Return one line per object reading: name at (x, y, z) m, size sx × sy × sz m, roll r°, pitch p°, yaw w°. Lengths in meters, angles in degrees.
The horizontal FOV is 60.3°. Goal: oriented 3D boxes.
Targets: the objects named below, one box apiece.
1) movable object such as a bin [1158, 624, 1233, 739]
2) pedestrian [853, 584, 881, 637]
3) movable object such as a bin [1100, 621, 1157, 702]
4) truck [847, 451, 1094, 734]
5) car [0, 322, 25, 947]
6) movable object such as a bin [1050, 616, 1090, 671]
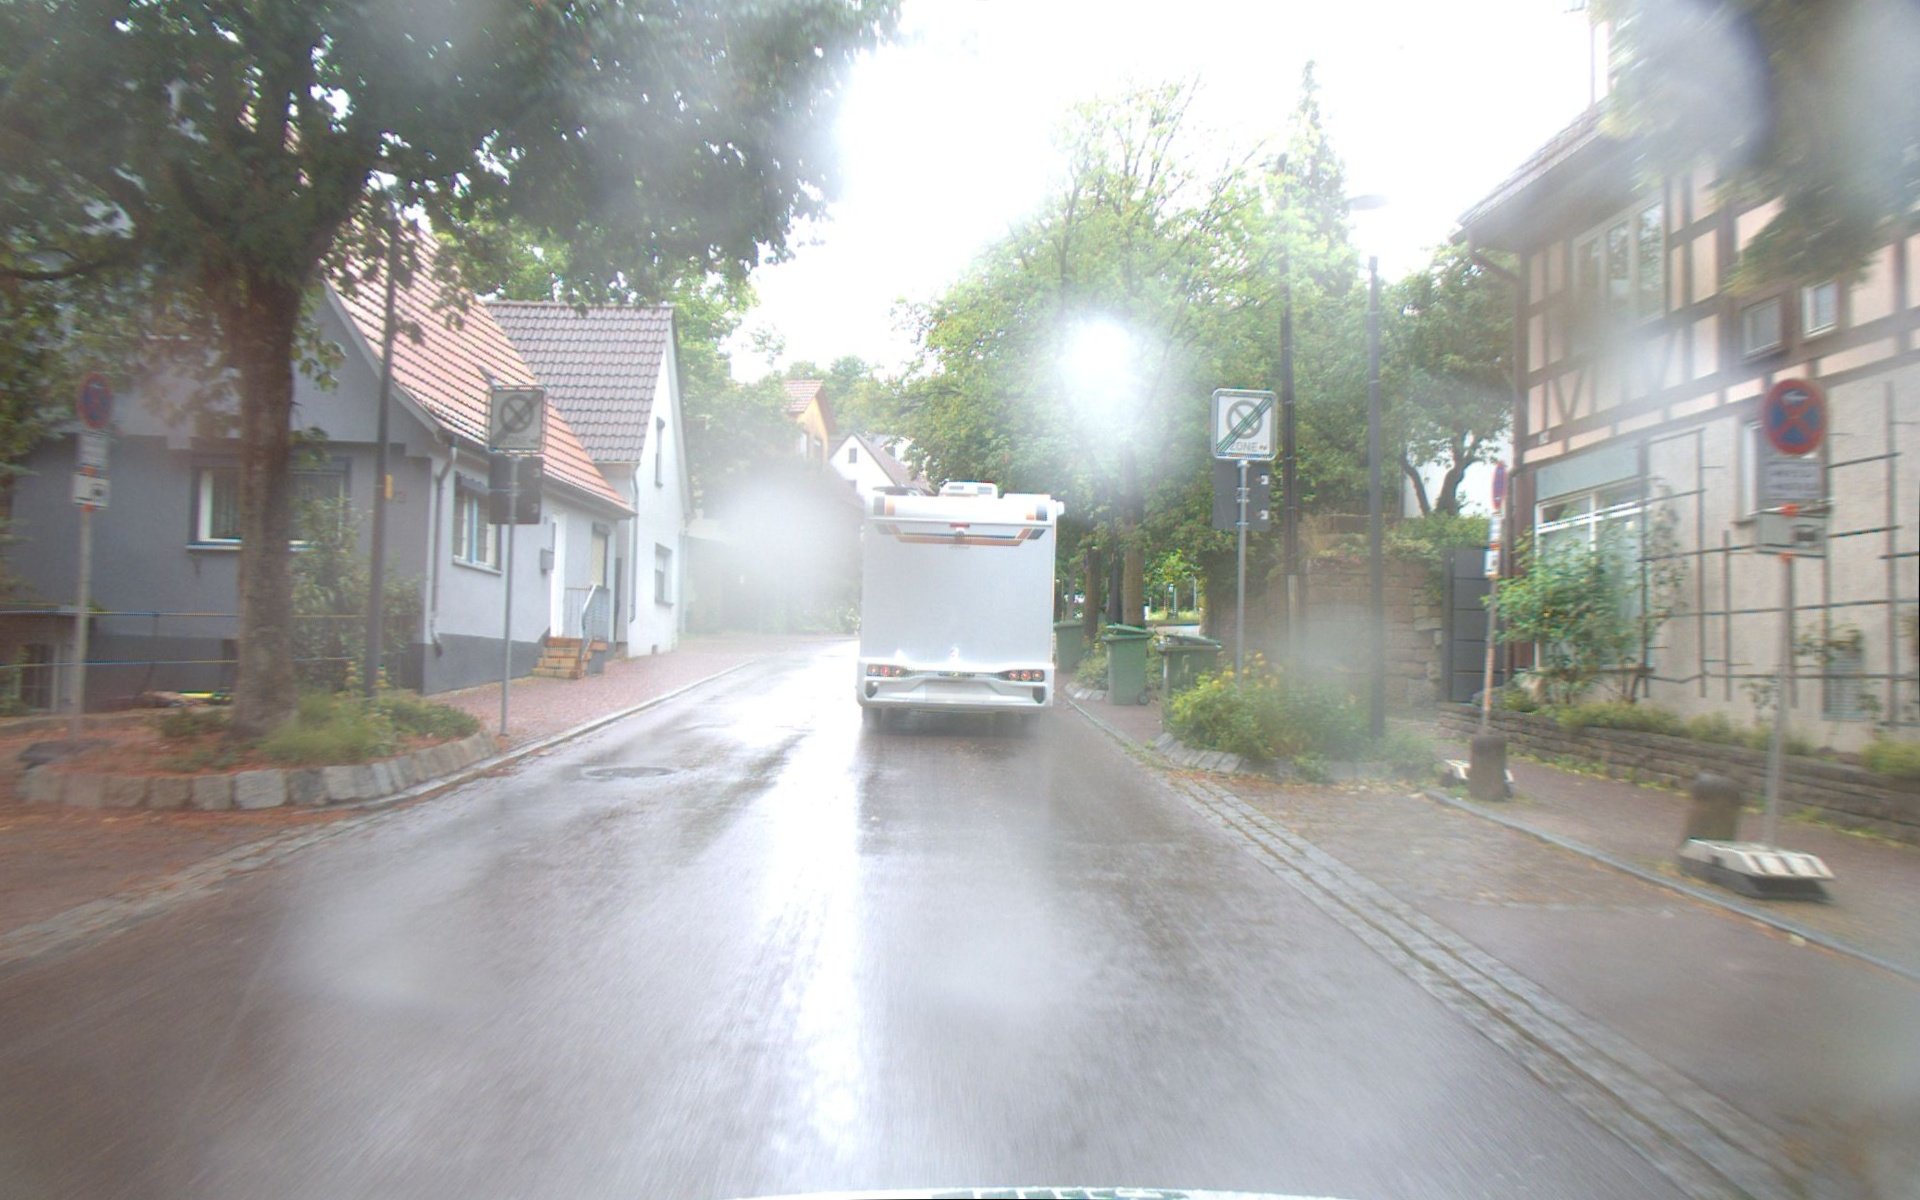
movable object such as a bin at (2.634, 0.898, 18.522) m, size 0.706 × 1.234 × 0.727 m, roll 1°, pitch -1°, yaw -1°
pedestrian at (-3.405, 0.395, 60.693) m, size 0.776 × 1.901 × 0.917 m, roll 1°, pitch -1°, yaw 12°
movable object such as a bin at (2.478, 0.896, 24.402) m, size 0.709 × 1.163 × 0.703 m, roll 1°, pitch -1°, yaw -4°
truck at (0.058, -0.099, 21.256) m, size 2.640 × 3.038 × 6.235 m, roll 1°, pitch 0°, yaw -1°
car at (-5.075, 0.145, 3.935) m, size 2.256 × 2.526 × 5.786 m, roll 1°, pitch 0°, yaw 1°
movable object such as a bin at (2.299, 0.898, 34.711) m, size 0.753 × 1.126 × 0.884 m, roll -1°, pitch -1°, yaw -1°
